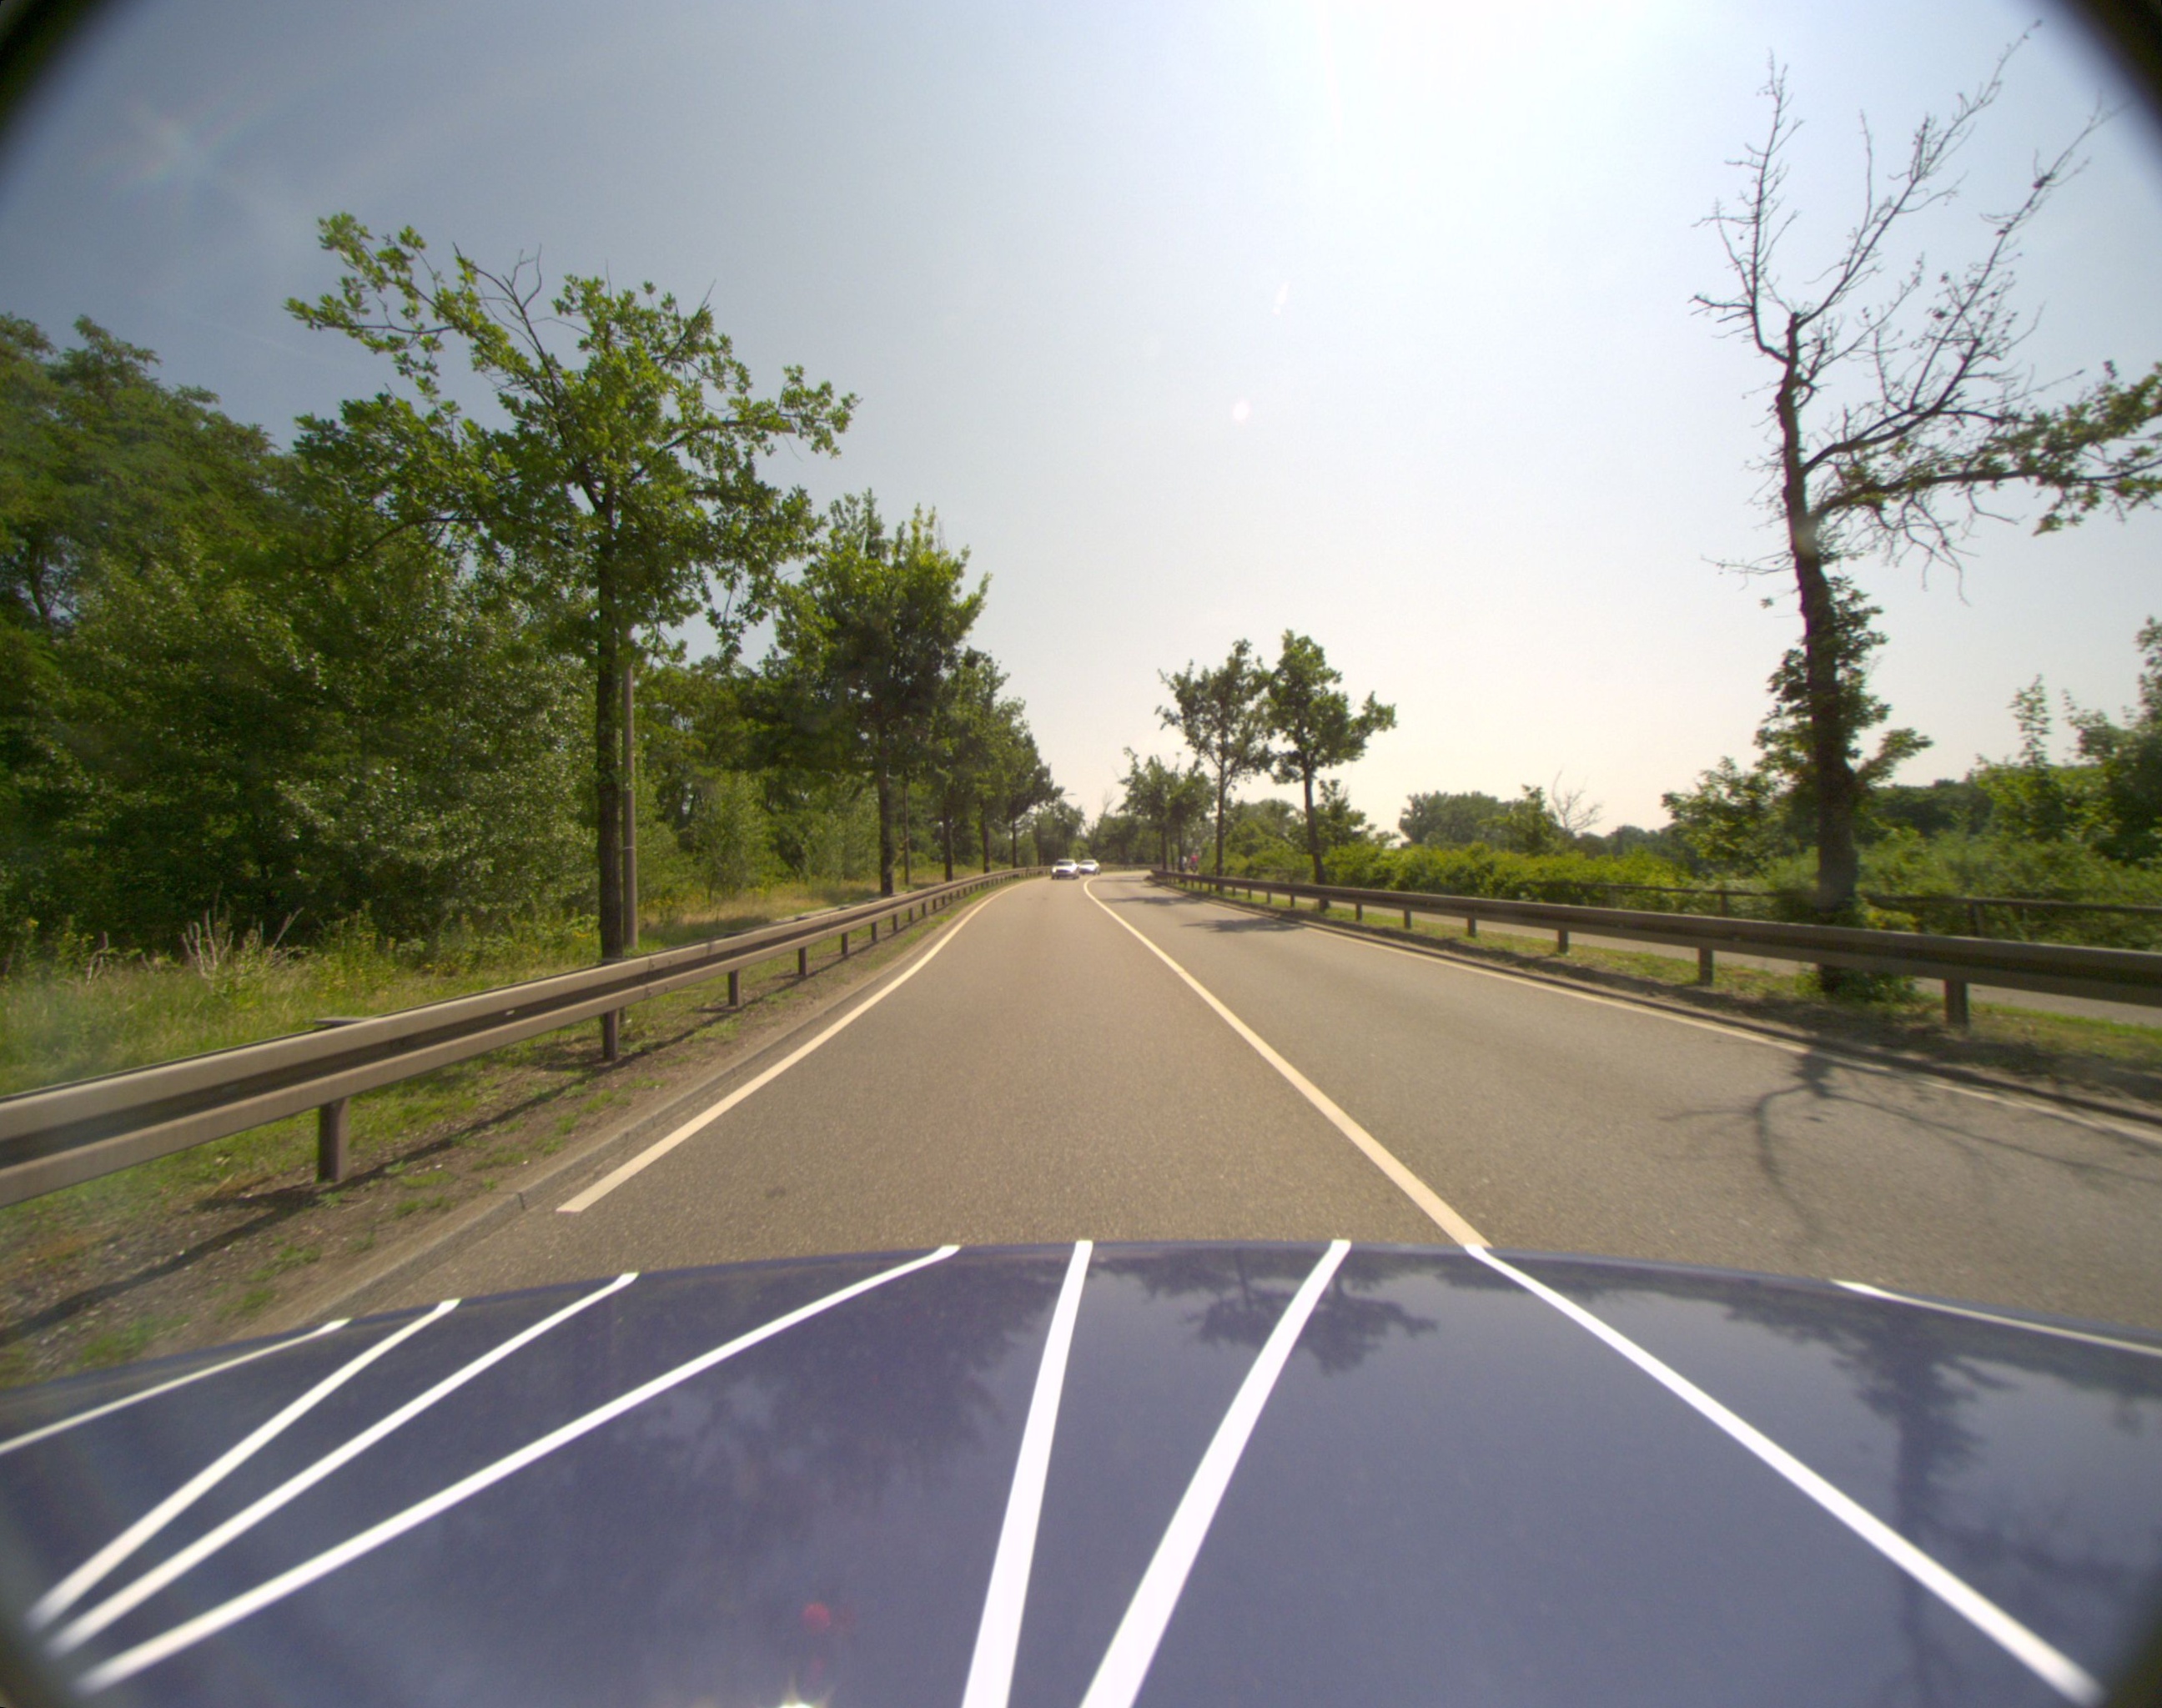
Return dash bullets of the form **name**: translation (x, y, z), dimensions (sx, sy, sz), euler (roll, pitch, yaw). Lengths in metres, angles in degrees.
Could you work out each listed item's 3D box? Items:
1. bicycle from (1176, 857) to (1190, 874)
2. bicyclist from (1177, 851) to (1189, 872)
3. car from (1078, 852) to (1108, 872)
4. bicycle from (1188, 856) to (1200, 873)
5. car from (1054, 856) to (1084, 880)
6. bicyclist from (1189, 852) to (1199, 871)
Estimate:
- **bicycle**: translation (7.116, 0.812, 53.012), dimensions (0.736, 1.110, 2.046), euler (2, 0, 3)
- **bicyclist**: translation (7.131, 0.506, 52.959), dimensions (0.731, 1.457, 0.824), euler (2, 1, 2)
- **car**: translation (1.169, 0.727, 70.746), dimensions (1.797, 1.772, 4.298), euler (-1, 0, 15)
- **bicycle**: translation (8.594, 0.787, 57.887), dimensions (0.735, 1.274, 2.048), euler (0, 0, 13)
- **car**: translation (-0.819, 0.964, 54.489), dimensions (1.762, 1.490, 4.234), euler (-1, 1, 4)
- **bicyclist**: translation (8.632, 0.556, 58.084), dimensions (0.743, 1.480, 0.757), euler (-1, 1, 11)
